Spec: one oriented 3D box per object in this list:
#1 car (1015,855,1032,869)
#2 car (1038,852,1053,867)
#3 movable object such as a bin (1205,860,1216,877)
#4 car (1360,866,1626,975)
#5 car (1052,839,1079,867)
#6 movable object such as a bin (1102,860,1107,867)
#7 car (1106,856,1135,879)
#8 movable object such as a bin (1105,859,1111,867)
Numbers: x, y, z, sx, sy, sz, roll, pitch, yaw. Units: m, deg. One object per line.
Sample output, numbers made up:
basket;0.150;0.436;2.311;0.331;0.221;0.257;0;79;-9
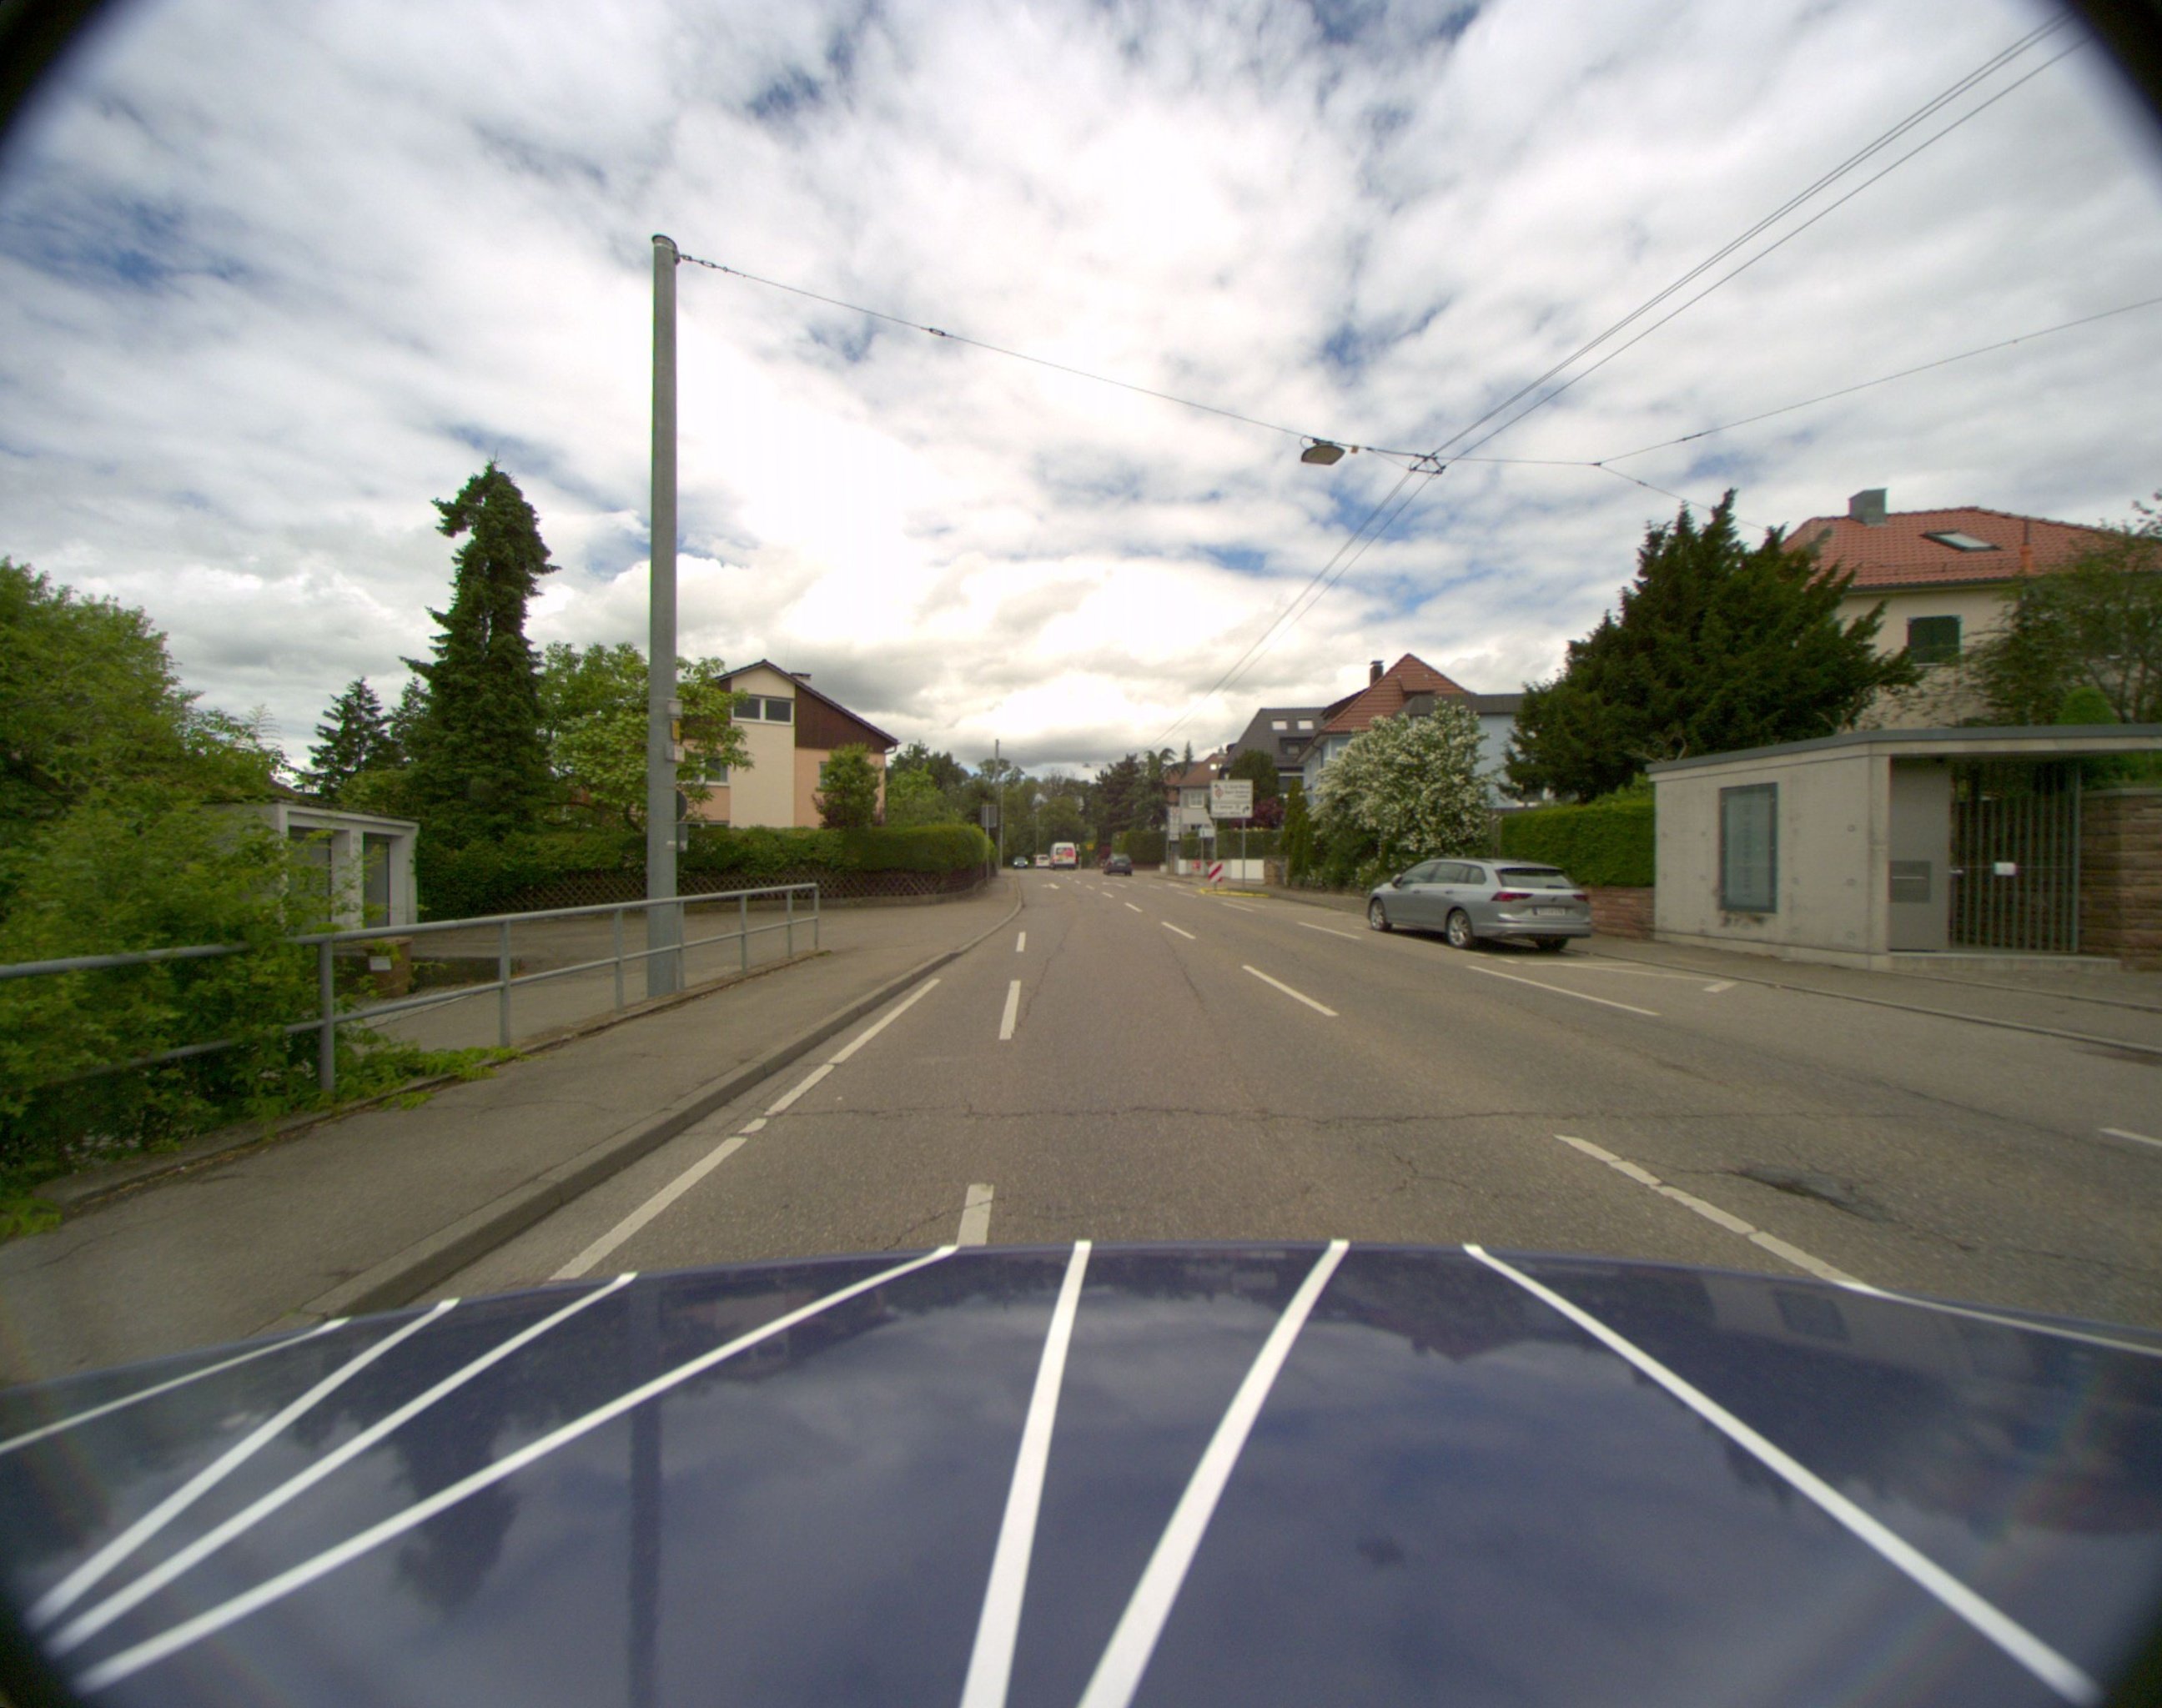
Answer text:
car;-7.725;1.129;102.138;1.864;1.855;4.608;0;-1;-9
car;-5.108;0.792;108.740;1.864;2.035;5.169;0;-1;-6
movable object such as a bin;7.331;0.801;43.151;0.509;0.967;0.540;0;1;-2
car;6.768;0.999;13.148;1.815;1.447;4.411;3;0;-6
car;-1.477;-0.071;70.392;2.118;2.483;6.121;0;0;-5
movable object such as a bin;2.909;1.182;93.915;0.464;0.936;0.648;-1;0;23
car;2.651;0.886;51.797;1.738;1.544;4.447;0;0;0
movable object such as a bin;3.359;1.106;93.698;0.479;1.028;0.717;-1;0;23
